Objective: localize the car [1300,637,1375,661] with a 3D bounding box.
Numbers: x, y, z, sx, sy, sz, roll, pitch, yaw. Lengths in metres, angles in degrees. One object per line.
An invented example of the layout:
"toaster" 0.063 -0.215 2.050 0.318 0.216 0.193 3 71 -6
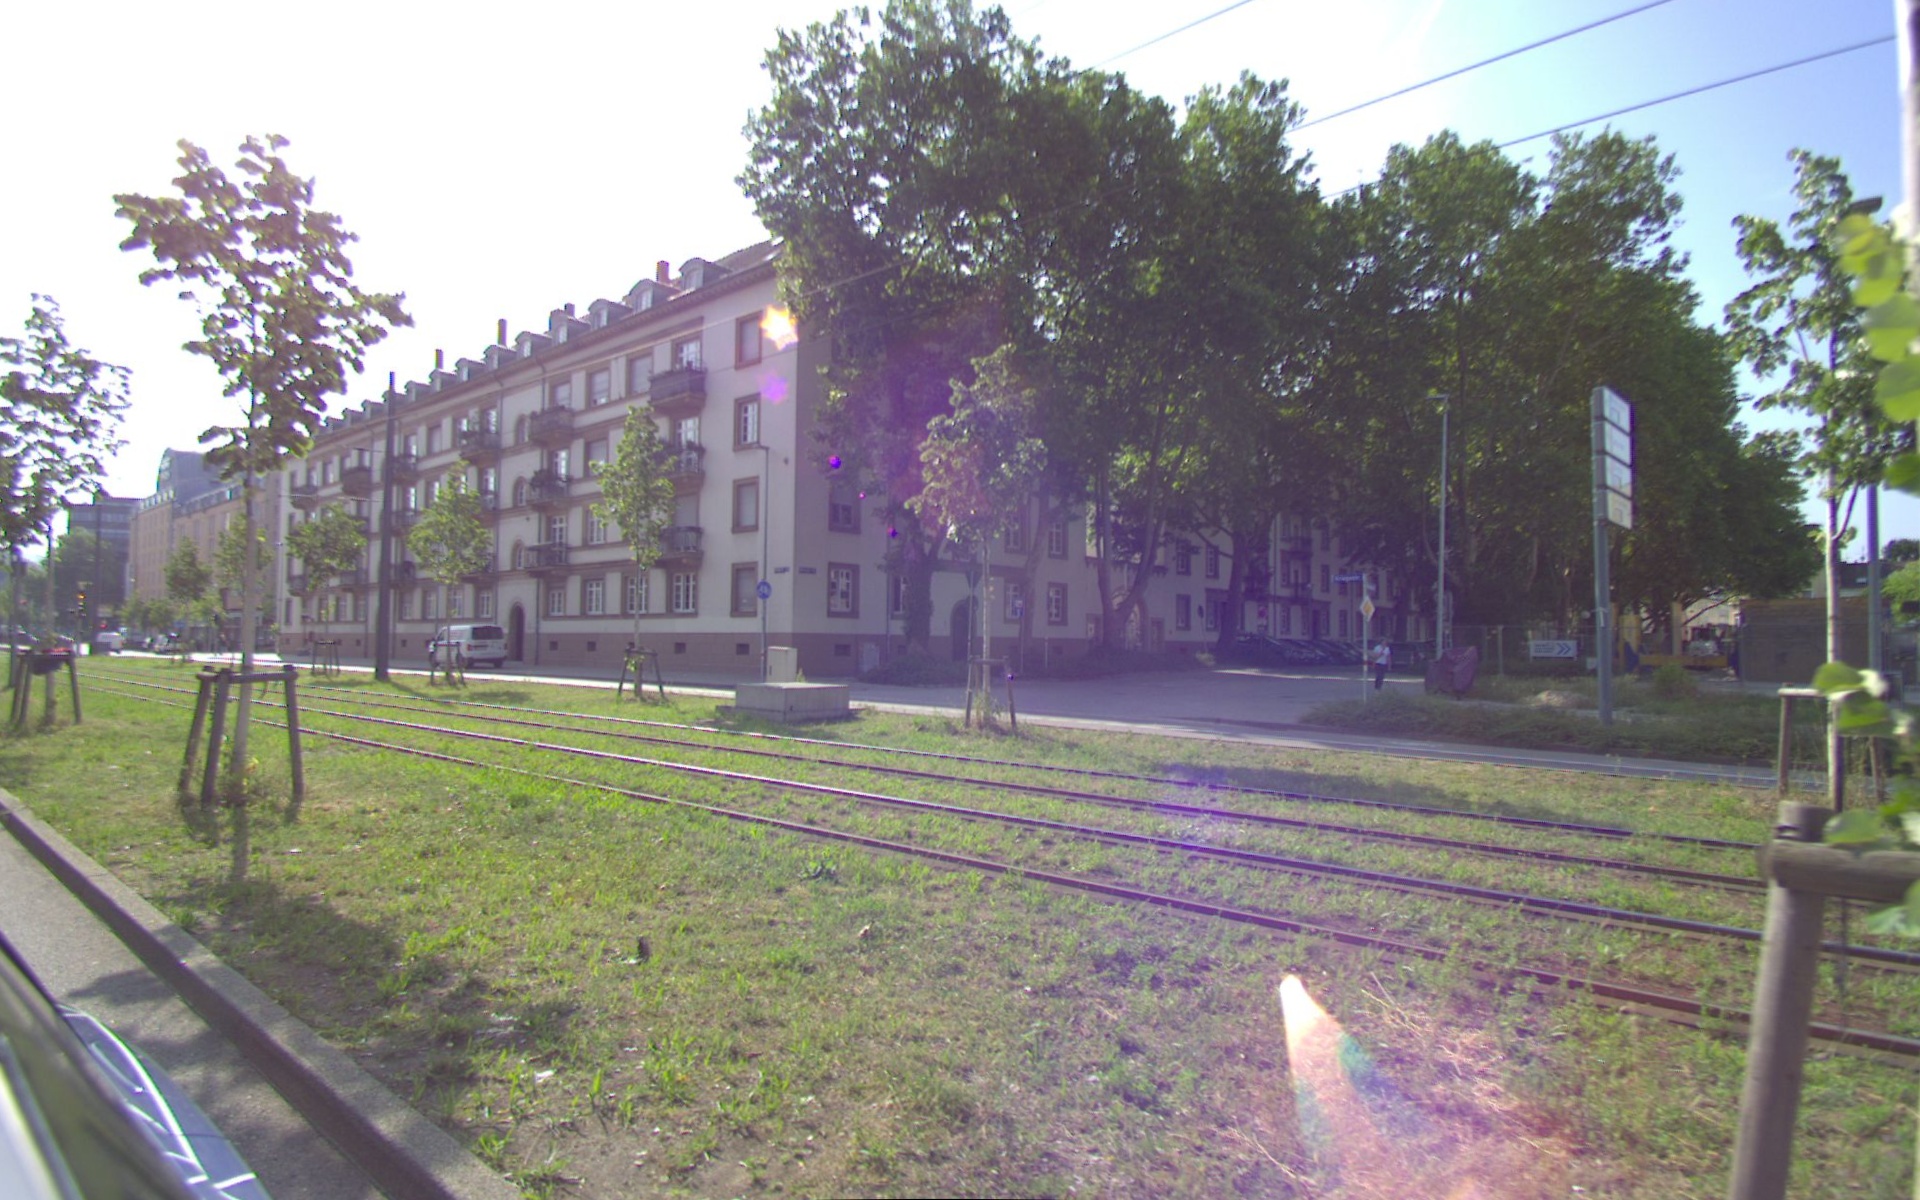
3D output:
"car" 23.475 3.028 62.936 3.997 1.386 1.875 -2 -3 41

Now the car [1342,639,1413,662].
"car" 28.082 3.369 68.132 3.997 1.475 1.973 -2 -3 41

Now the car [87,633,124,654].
"car" -80.161 4.104 94.924 5.046 1.909 1.972 -2 -4 43

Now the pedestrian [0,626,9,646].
"pedestrian" -91.059 3.436 96.279 0.939 1.886 0.730 -2 -4 44

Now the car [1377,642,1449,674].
"car" 21.174 2.673 47.236 1.999 1.386 3.946 -2 -3 40

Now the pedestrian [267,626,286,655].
"pedestrian" -48.922 2.870 72.420 1.156 2.084 0.833 -2 -2 42

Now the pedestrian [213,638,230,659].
"pedestrian" -57.024 3.718 78.119 0.676 1.595 0.801 -1 -3 24

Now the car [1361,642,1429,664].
"car" 30.180 3.674 70.254 3.997 1.475 1.973 -2 -3 41

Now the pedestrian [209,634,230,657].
"pedestrian" -61.742 3.769 84.431 0.855 1.882 1.067 0 -2 13

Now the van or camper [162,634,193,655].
"van or camper" -77.721 4.400 100.476 1.907 1.983 4.002 3 -4 -45

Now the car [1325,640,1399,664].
"car" 25.848 3.333 65.156 3.997 1.475 1.973 -2 -3 41

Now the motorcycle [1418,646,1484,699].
"motorcycle" 13.594 1.985 28.104 0.807 1.379 2.294 0 -2 4

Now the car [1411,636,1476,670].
"car" 24.544 2.657 51.293 1.999 1.619 3.946 -2 -3 40

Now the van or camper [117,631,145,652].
"van or camper" -111.928 5.587 136.656 5.350 2.823 1.972 -2 -4 41

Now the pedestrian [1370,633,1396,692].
"pedestrian" 12.326 1.811 29.486 0.673 1.690 0.730 -1 -3 25

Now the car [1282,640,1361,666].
"car" 21.324 3.112 59.782 3.997 1.475 1.851 -2 -3 41

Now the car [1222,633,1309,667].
"car" 16.364 2.658 54.257 3.997 1.763 1.973 -2 -3 41

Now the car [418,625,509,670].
"car" -22.895 2.164 46.607 5.151 1.933 1.972 -2 -2 42

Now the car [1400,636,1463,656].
"car" 36.106 3.542 77.564 3.997 1.475 1.973 -2 -3 41
